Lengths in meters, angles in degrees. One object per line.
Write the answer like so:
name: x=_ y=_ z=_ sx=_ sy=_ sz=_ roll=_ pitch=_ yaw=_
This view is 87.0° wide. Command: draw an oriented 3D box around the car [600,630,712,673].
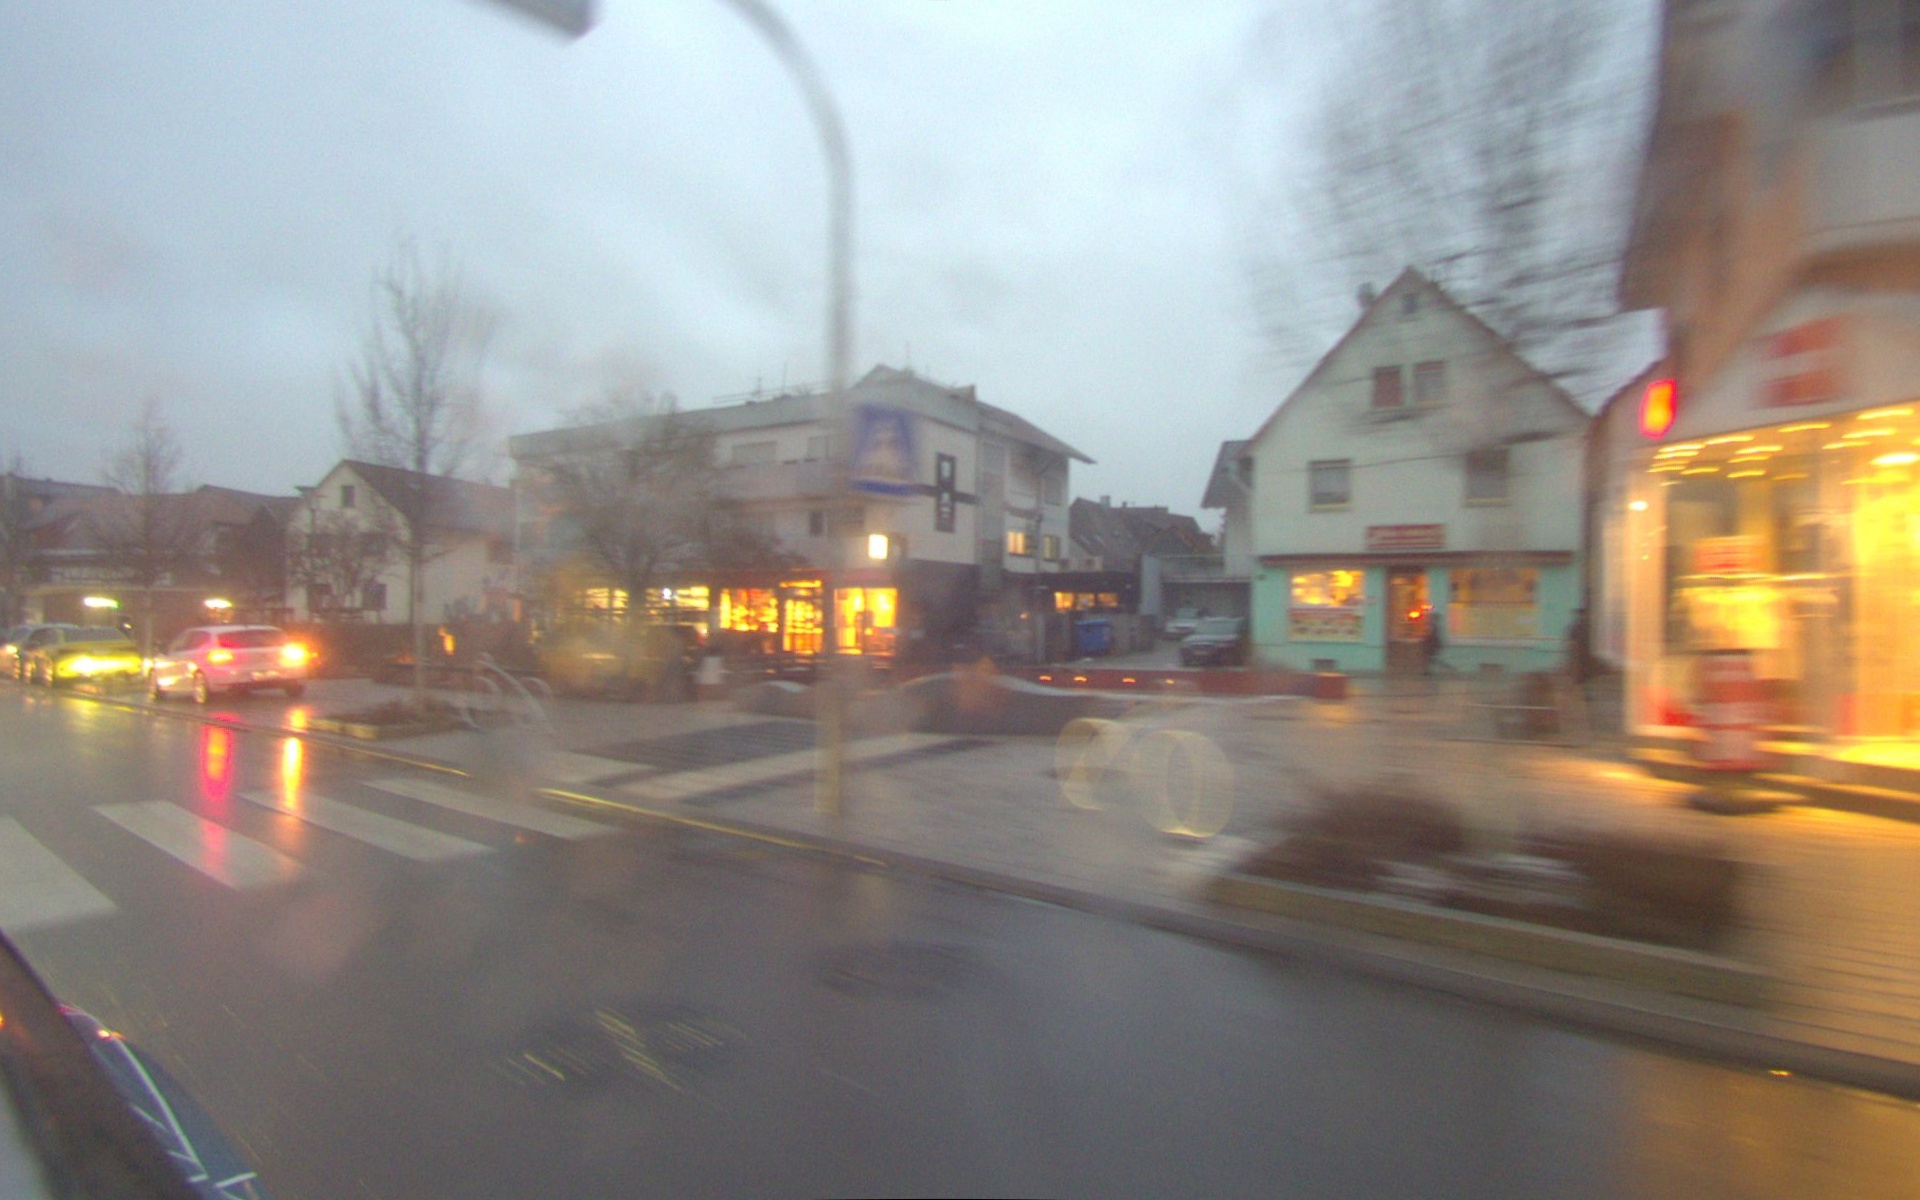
car: x=-11.781 y=1.972 z=39.235 sx=3.984 sy=1.576 sz=1.979 roll=-1 pitch=-2 yaw=30

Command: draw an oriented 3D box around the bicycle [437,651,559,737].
bicycle: x=-5.984 y=1.221 z=13.097 sx=1.734 sy=1.070 sz=0.322 roll=-3 pitch=-7 yaw=24

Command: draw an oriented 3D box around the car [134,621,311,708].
car: x=-14.691 y=1.196 z=20.094 sx=4.176 sy=1.500 sz=1.767 roll=-1 pitch=0 yaw=38

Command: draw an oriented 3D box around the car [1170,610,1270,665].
car: x=8.353 y=1.162 z=32.286 sx=1.978 sy=1.615 sz=3.956 roll=-1 pitch=-2 yaw=32

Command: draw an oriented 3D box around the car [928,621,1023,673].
car: x=0.644 y=1.747 z=38.126 sx=1.991 sy=1.858 sz=3.962 roll=-1 pitch=-2 yaw=28

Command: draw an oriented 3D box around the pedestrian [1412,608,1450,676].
pedestrian: x=12.190 y=1.088 z=26.201 sx=0.836 sy=1.729 sz=0.911 roll=-1 pitch=-3 yaw=27

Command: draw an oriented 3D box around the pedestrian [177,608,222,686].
pedestrian: x=-20.383 y=1.246 z=27.127 sx=0.890 sy=2.029 sz=0.791 roll=0 pitch=-2 yaw=-43

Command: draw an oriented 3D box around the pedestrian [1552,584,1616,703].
pedestrian: x=10.970 y=0.744 z=17.787 sx=0.814 sy=2.029 sz=0.737 roll=-1 pitch=0 yaw=-44

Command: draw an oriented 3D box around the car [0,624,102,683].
car: x=-26.452 y=1.486 z=29.032 sx=3.661 sy=1.546 sz=1.860 roll=-1 pitch=0 yaw=33

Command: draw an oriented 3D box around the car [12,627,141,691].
car: x=-22.343 y=1.449 z=25.546 sx=4.371 sy=1.442 sz=1.678 roll=-2 pitch=-1 yaw=38

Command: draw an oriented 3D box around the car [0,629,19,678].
car: x=-32.675 y=1.761 z=33.320 sx=4.133 sy=1.546 sz=1.818 roll=-1 pitch=0 yaw=38
